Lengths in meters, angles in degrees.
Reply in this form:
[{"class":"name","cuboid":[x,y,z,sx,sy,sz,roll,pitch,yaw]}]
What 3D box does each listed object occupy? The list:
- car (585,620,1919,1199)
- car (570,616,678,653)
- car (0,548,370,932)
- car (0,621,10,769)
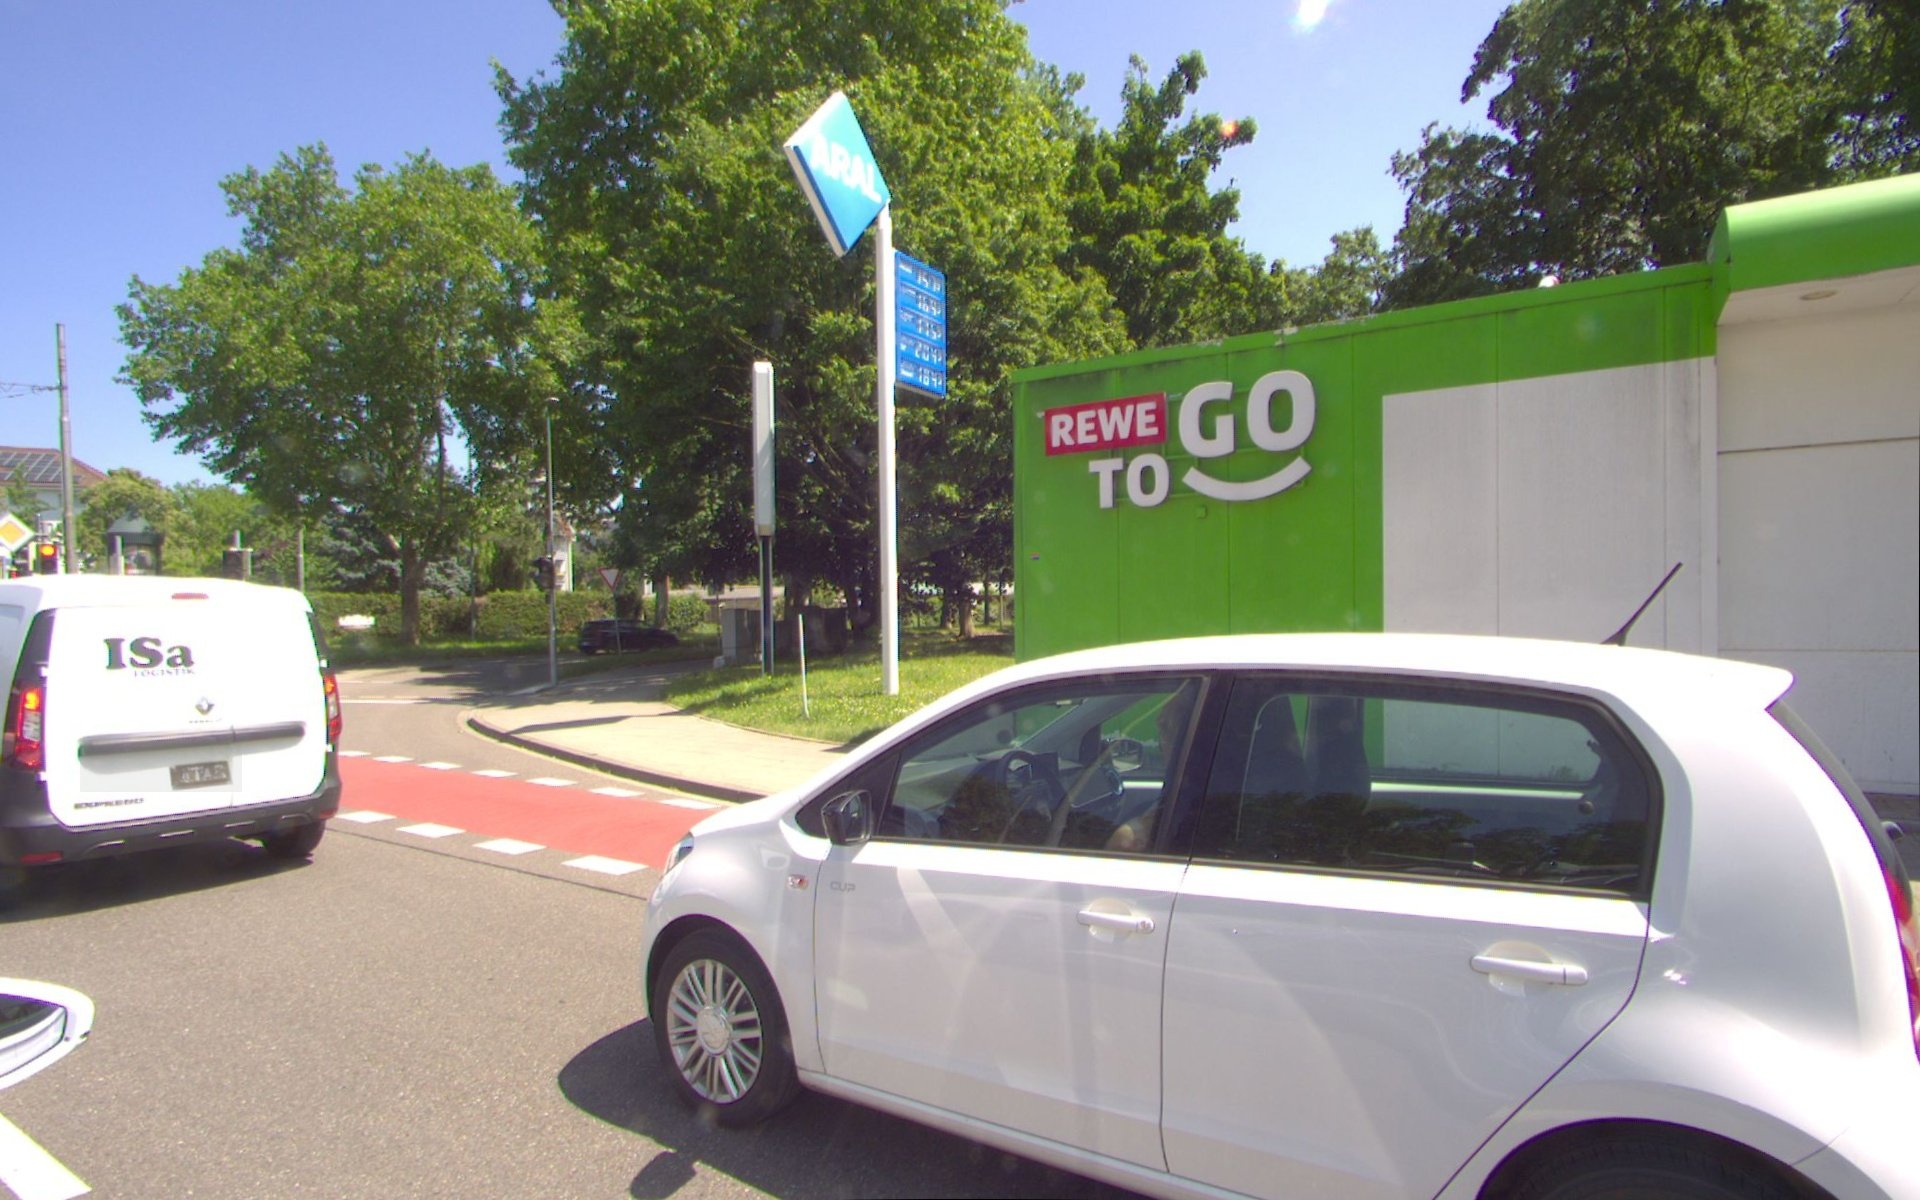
[{"class":"car","cuboid":[0.650,0.810,3.003,3.472,1.470,1.603,-1,0,34]},{"class":"car","cuboid":[-13.636,1.362,40.775,1.677,1.329,3.852,-1,1,40]},{"class":"car","cuboid":[-5.844,0.721,6.596,3.954,1.854,1.708,-1,-1,31]},{"class":"car","cuboid":[-11.900,0.977,10.616,3.943,1.505,1.753,-1,-2,33]}]
